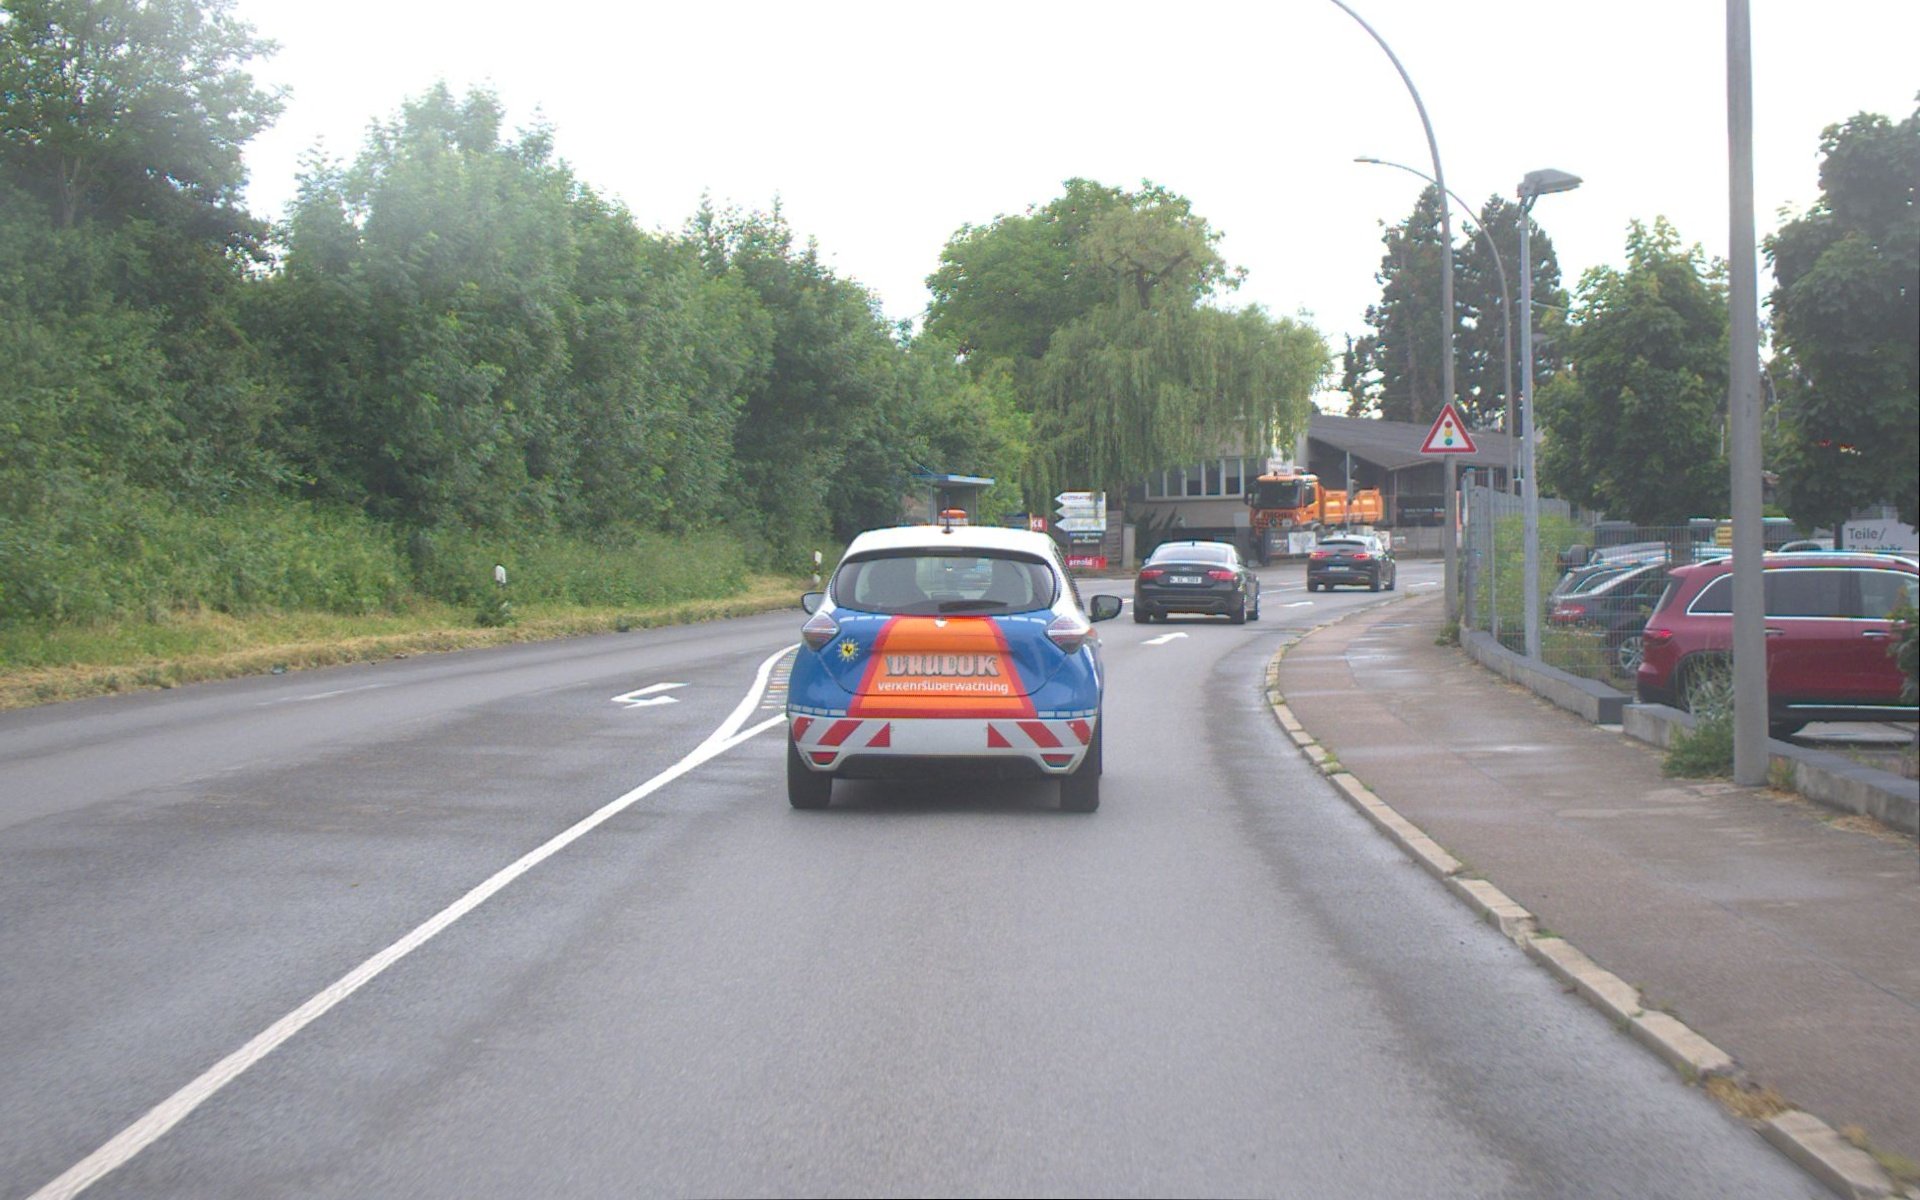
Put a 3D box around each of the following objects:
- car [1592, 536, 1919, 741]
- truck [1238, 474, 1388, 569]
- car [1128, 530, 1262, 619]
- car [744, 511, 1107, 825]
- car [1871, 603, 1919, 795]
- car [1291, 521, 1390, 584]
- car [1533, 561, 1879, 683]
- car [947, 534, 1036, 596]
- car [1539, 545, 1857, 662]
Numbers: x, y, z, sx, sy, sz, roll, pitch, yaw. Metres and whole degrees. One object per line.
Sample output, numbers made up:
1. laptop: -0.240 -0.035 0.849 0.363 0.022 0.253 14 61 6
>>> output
1. car: 8.172 0.366 30.185 4.691 1.657 1.996 2 0 31
2. truck: 14.221 -3.097 137.754 2.702 3.400 9.057 2 0 28
3. car: 3.999 -0.400 57.950 1.721 1.371 3.932 2 0 11
4. car: -0.191 0.315 20.016 1.888 1.626 4.000 0 1 0
5. car: 8.470 0.711 23.070 4.229 1.297 1.732 1 -1 32
6. car: 9.582 -1.188 86.356 1.995 1.415 3.998 2 0 12
7. car: 9.542 0.277 44.247 4.109 1.365 1.999 2 0 6
8. car: 0.858 -0.898 89.748 1.994 1.469 4.700 2 0 4
9. car: 9.998 0.045 46.778 3.987 1.403 1.593 2 0 4
